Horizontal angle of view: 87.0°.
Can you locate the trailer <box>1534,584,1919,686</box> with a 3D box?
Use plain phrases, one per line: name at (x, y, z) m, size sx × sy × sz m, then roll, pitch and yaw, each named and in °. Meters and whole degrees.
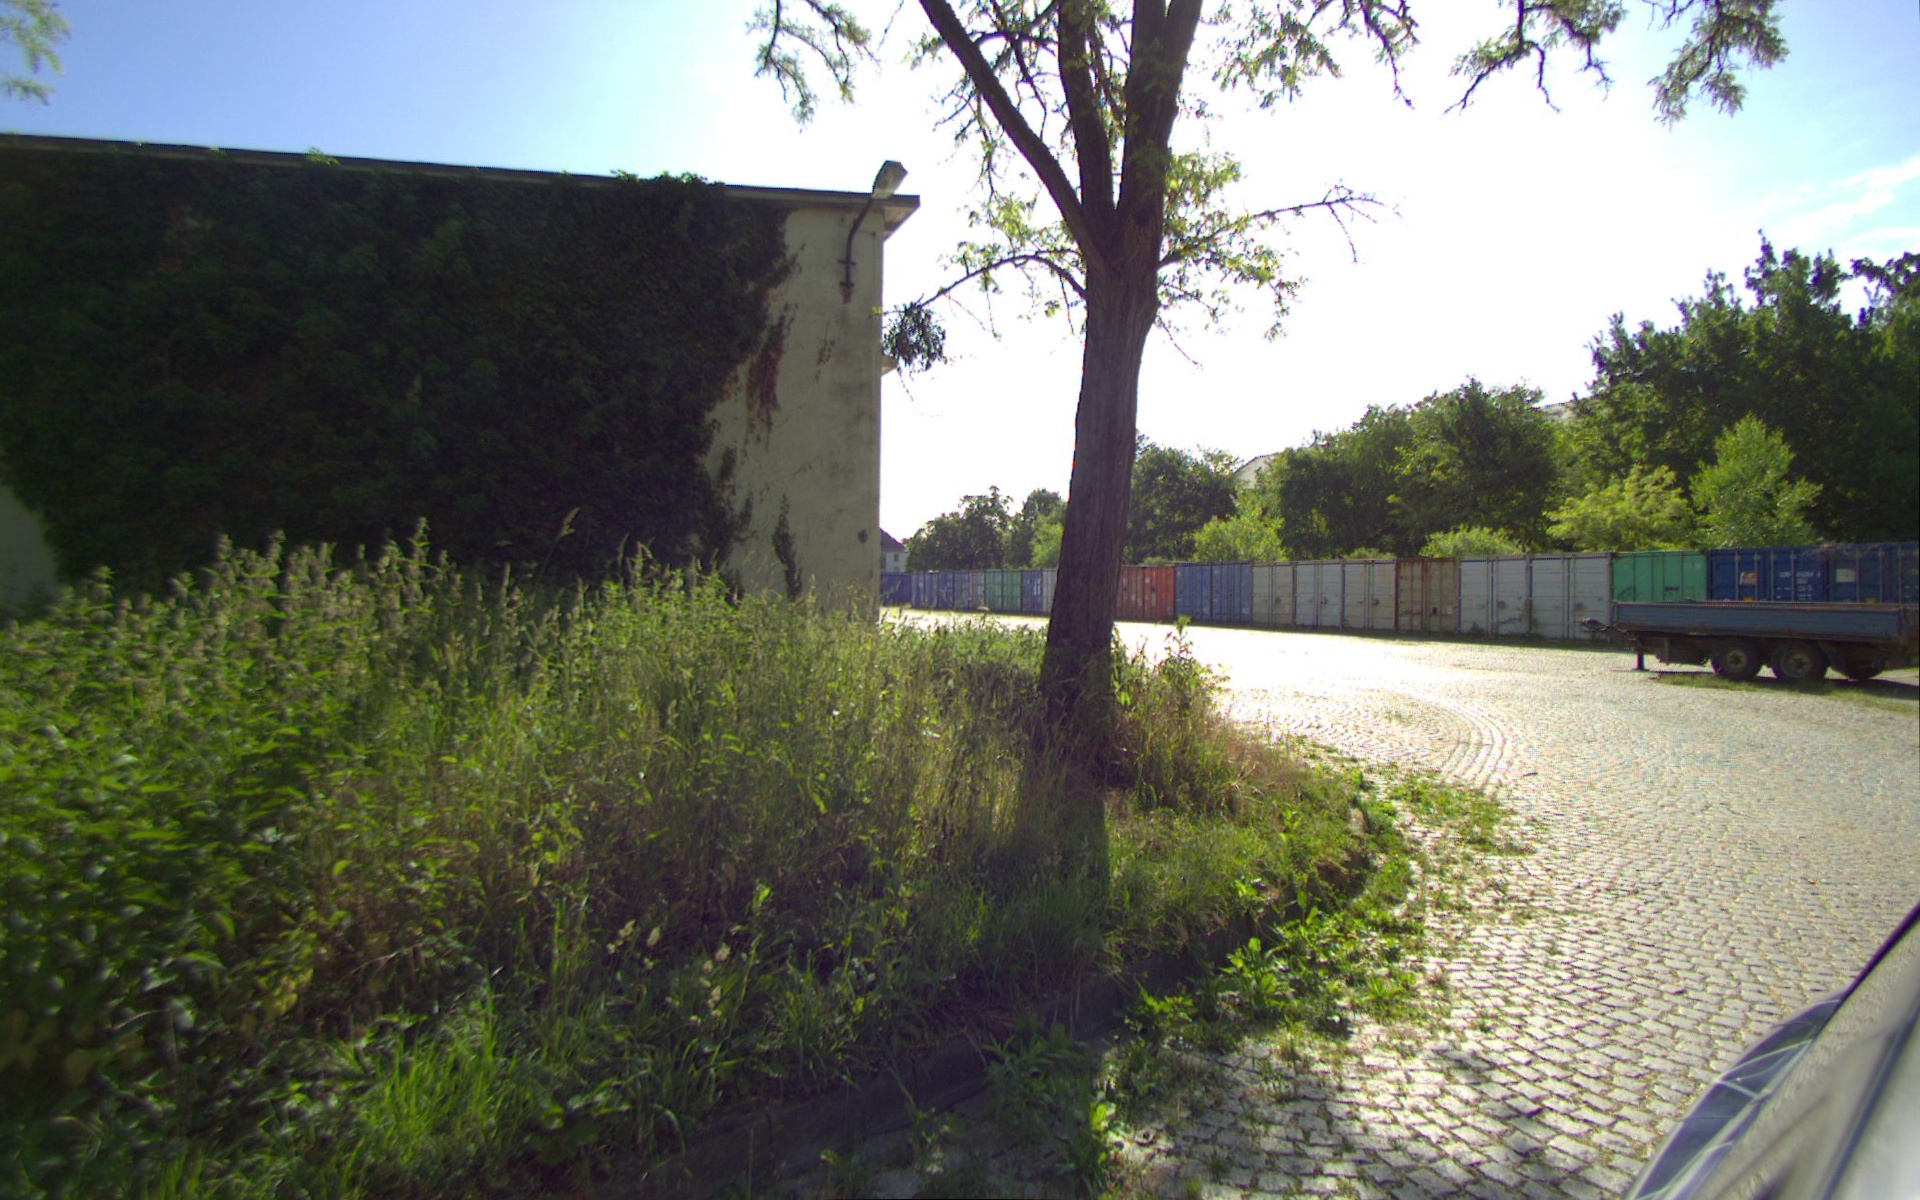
trailer at (14.815, 0.508, 19.149) m, size 2.796 × 1.536 × 6.504 m, roll -1°, pitch 1°, yaw -24°
